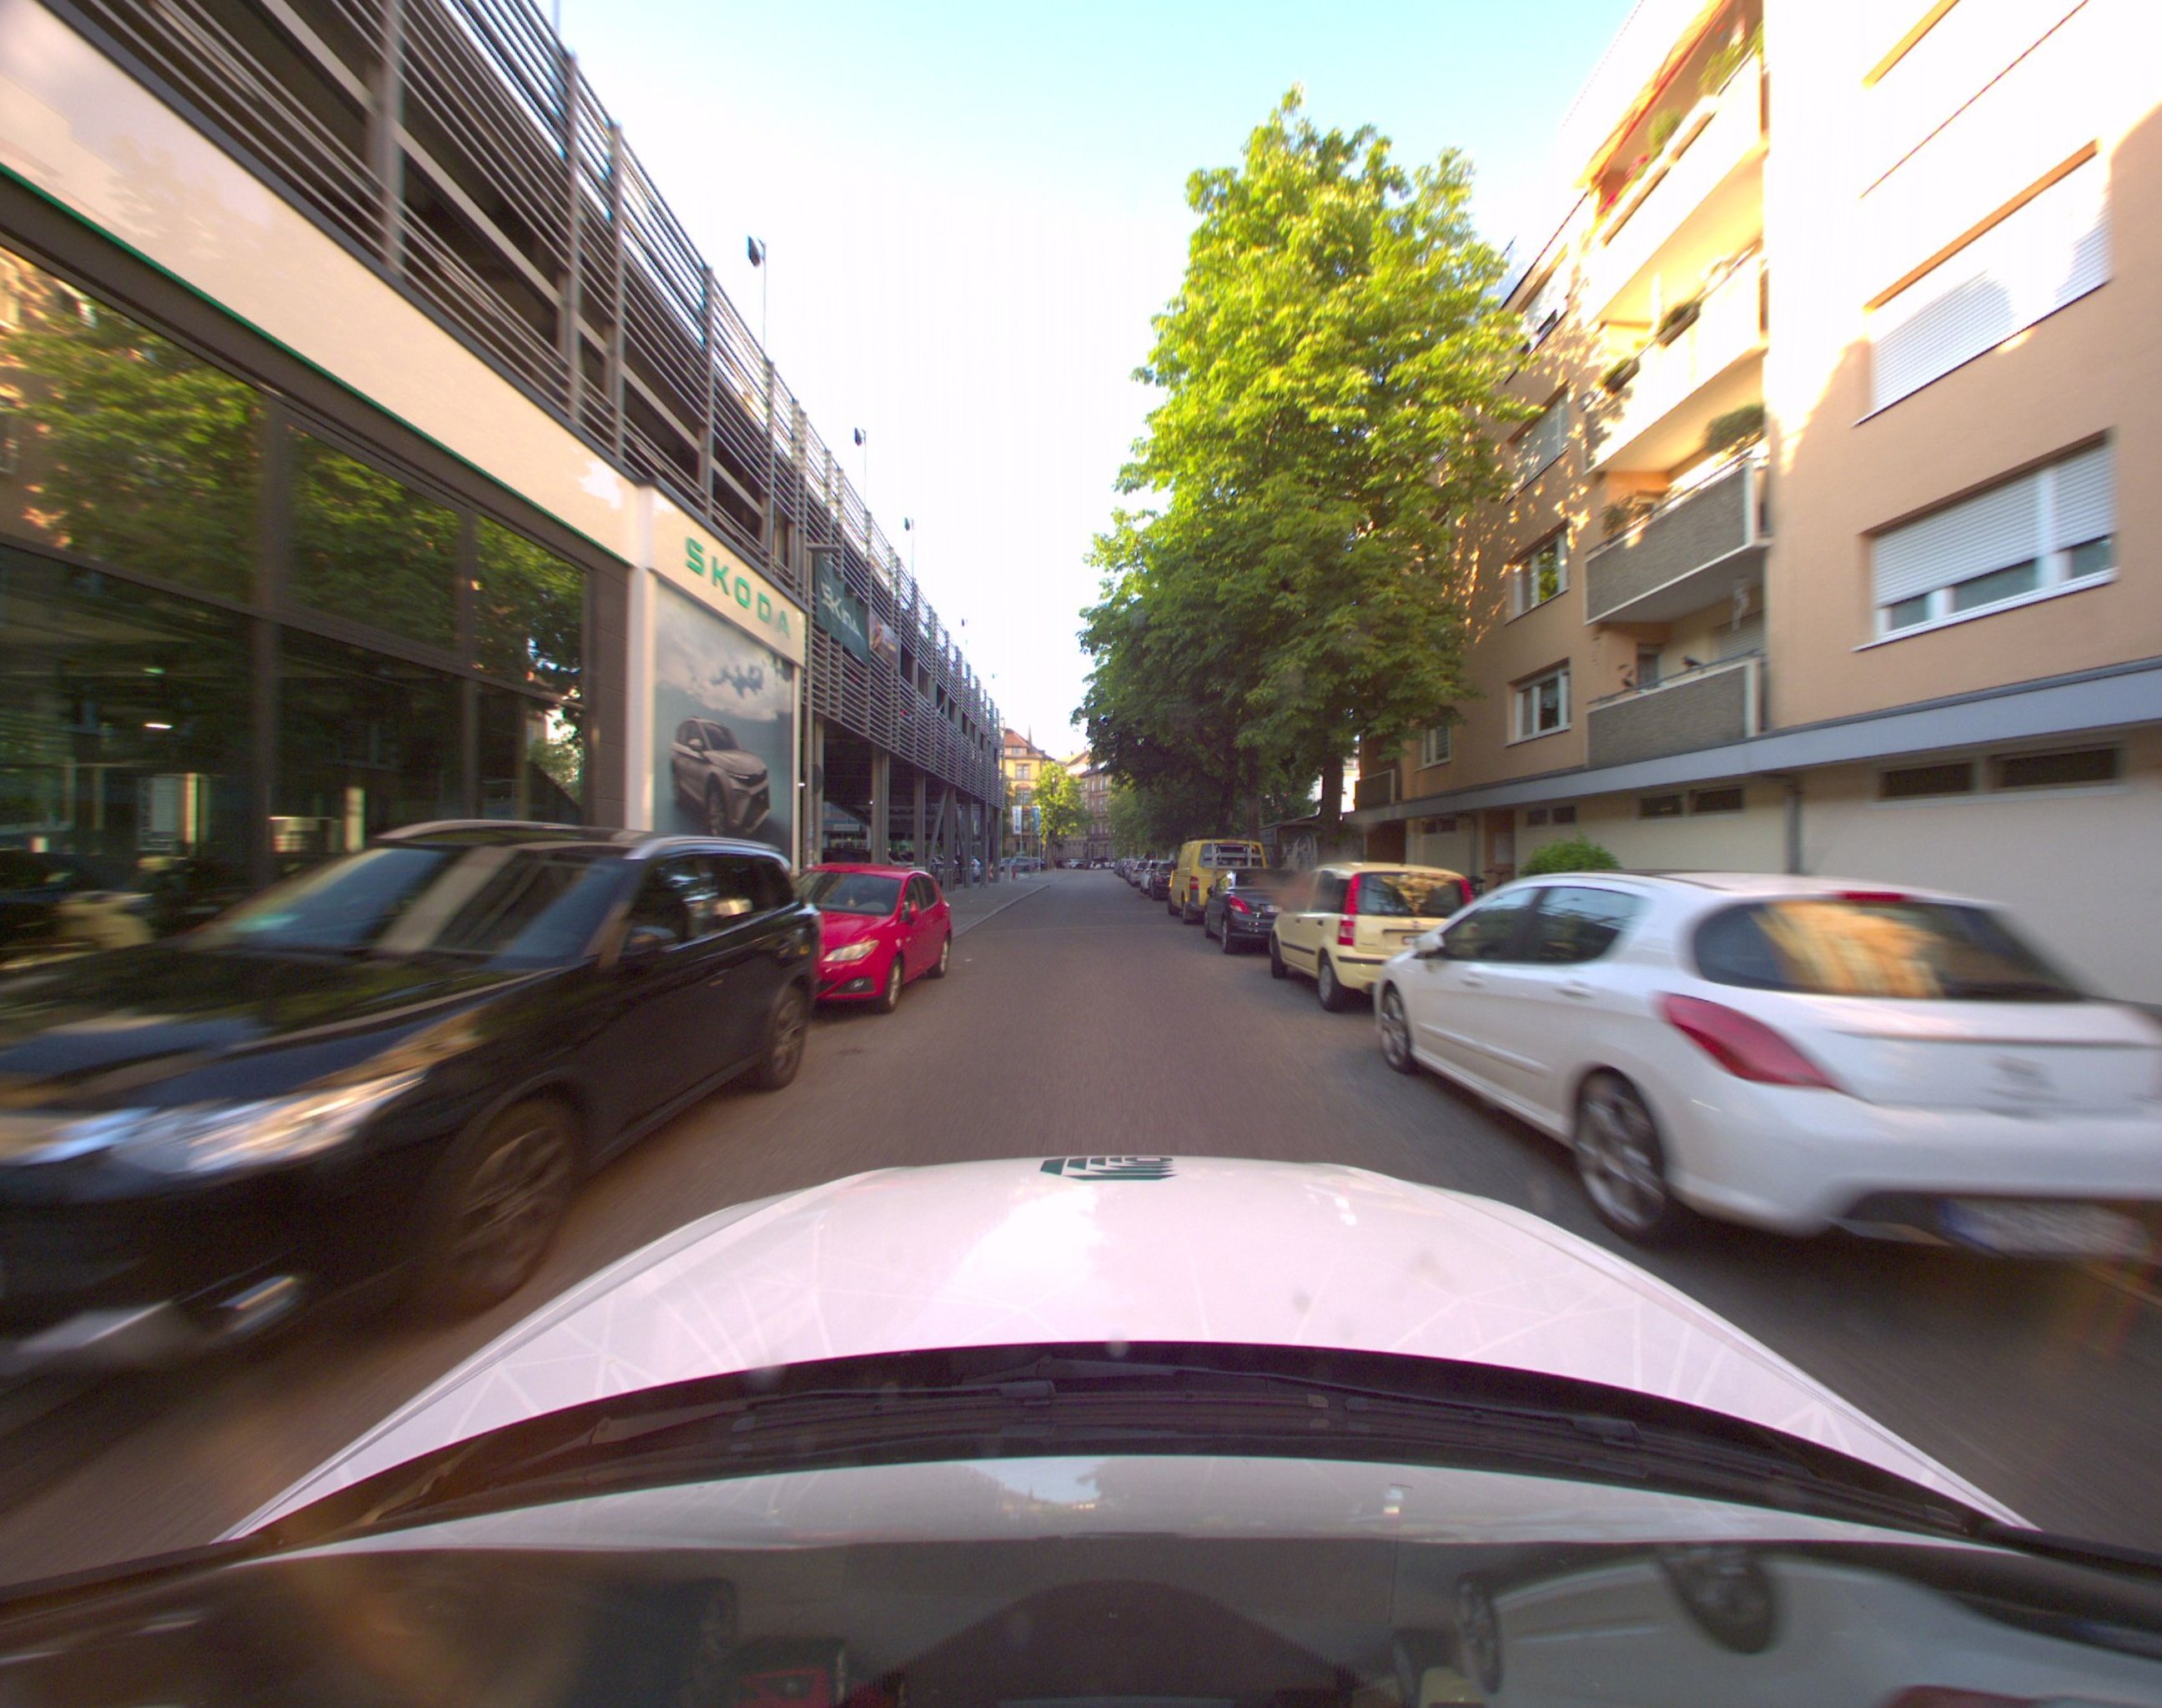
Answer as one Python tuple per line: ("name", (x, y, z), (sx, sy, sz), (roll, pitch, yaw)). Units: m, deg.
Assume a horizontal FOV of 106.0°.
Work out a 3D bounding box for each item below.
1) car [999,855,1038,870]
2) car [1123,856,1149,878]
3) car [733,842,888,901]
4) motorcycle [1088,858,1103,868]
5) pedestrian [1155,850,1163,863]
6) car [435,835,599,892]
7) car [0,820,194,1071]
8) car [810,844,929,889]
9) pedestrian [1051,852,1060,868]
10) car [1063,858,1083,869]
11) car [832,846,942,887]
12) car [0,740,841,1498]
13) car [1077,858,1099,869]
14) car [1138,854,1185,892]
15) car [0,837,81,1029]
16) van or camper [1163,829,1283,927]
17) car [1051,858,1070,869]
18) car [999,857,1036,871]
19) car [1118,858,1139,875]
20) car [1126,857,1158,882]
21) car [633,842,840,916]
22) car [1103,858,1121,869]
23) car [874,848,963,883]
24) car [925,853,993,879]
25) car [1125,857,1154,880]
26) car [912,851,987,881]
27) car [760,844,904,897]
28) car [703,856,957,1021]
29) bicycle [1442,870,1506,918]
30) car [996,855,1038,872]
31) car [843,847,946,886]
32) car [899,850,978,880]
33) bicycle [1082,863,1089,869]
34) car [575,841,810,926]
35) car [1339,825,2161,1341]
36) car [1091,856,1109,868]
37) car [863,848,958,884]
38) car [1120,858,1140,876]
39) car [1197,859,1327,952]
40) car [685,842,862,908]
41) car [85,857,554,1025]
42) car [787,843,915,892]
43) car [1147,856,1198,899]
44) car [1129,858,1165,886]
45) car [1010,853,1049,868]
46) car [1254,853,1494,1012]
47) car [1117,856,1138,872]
("car", (-6.669, 0.879, 87.671), (4.055, 1.618, 1.764), (0, 1, -2))
("car", (4.138, 0.964, 61.649), (1.753, 1.604, 3.874), (0, 0, 1))
("car", (-8.063, 0.500, 24.516), (4.020, 1.684, 1.861), (0, 0, 1))
("motorcycle", (2.008, 1.245, 111.165), (1.931, 1.340, 0.575), (0, 0, -10))
("pedestrian", (10.938, 0.338, 113.954), (0.843, 1.804, 0.771), (0, 0, -20))
("car", (-13.410, 0.195, 19.623), (1.415, 1.255, 3.527), (0, 1, 1))
("car", (-8.005, 0.609, 4.339), (1.692, 1.658, 4.410), (0, 0, 1))
("car", (-8.163, 0.468, 31.657), (4.068, 1.684, 1.861), (0, 0, 1))
("pedestrian", (-2.987, 0.669, 95.079), (0.737, 1.804, 1.114), (0, 0, -20))
("car", (-1.184, 1.399, 119.074), (1.661, 1.431, 4.138), (1, 1, -21))
("car", (-8.024, 0.494, 33.888), (4.087, 1.684, 1.861), (0, 0, 1))
("car", (-2.730, 0.610, 4.092), (1.692, 1.756, 4.403), (0, 0, 1))
("car", (0.968, 1.382, 114.536), (1.662, 1.431, 3.960), (1, 1, -23))
("car", (3.467, 0.801, 35.607), (1.716, 1.519, 4.026), (0, 1, 0))
("car", (-10.174, 0.674, 5.695), (1.692, 1.658, 3.738), (0, -1, 1))
("van or camper", (3.290, 0.485, 19.962), (2.057, 2.096, 5.089), (0, 1, 0))
("car", (-3.122, 1.434, 123.372), (1.662, 1.431, 3.866), (1, 1, -23))
("car", (-7.168, 1.114, 91.675), (4.036, 1.475, 1.918), (2, 0, -3))
("car", (4.276, 1.084, 73.625), (1.689, 1.477, 4.117), (0, 0, 1))
("car", (3.787, 0.947, 50.951), (1.753, 1.454, 4.393), (0, 1, 1))
("car", (-8.145, 0.553, 19.519), (4.150, 1.684, 1.861), (0, 0, 1))
("car", (4.563, 1.387, 119.478), (1.682, 1.525, 2.746), (1, 0, -23))
("car", (-8.123, 0.564, 40.909), (4.049, 1.684, 1.861), (0, 0, 1))
("car", (-7.533, 0.787, 50.670), (3.976, 1.586, 1.859), (0, -2, -2))
("car", (4.049, 0.982, 56.888), (1.753, 1.441, 3.874), (0, 1, 1))
("car", (-7.742, 0.696, 48.177), (4.064, 1.684, 1.861), (0, 0, 1))
("car", (-8.147, 0.505, 26.926), (4.134, 1.684, 1.861), (0, 0, 1))
("car", (-2.585, 0.797, 9.355), (1.692, 1.506, 3.790), (0, -1, 1))
("bicycle", (8.550, 0.848, 17.789), (0.521, 0.921, 1.835), (0, 1, 0))
("car", (-6.617, 0.989, 84.198), (4.118, 1.618, 1.912), (2, 0, -2))
("car", (-8.243, 0.521, 36.270), (4.087, 1.684, 1.861), (0, 0, 1))
("car", (-7.932, 0.598, 45.591), (4.072, 1.684, 1.861), (0, 0, 1))
("bicycle", (0.622, 1.621, 109.058), (0.421, 0.822, 1.470), (0, 1, 23))
("car", (-8.057, 0.578, 17.144), (4.028, 1.684, 1.861), (0, 0, 1))
("car", (2.984, 0.687, 4.577), (1.785, 1.562, 4.194), (0, 0, 1))
("car", (2.859, 1.193, 122.993), (1.682, 1.782, 2.991), (1, 0, -23))
("car", (-8.061, 0.554, 38.763), (4.087, 1.684, 1.861), (0, 0, 1))
("car", (4.146, 1.111, 69.253), (1.591, 1.477, 3.774), (0, 0, 1))
("car", (3.088, 0.806, 14.634), (1.600, 1.381, 4.003), (0, 1, 2))
("car", (-8.157, 0.528, 21.876), (4.020, 1.684, 1.861), (0, 0, 1))
("car", (-8.033, 0.782, 9.173), (1.692, 1.473, 3.782), (0, 0, 1))
("car", (-8.165, 0.451, 29.125), (4.010, 1.684, 1.861), (0, 0, 1))
("car", (3.348, 0.825, 30.279), (1.557, 1.450, 3.453), (0, 1, 0))
("car", (3.678, 0.991, 46.014), (1.753, 1.442, 4.006), (0, 1, 1))
("car", (-6.531, 0.846, 103.151), (4.822, 1.732, 1.917), (1, 1, -6))
("car", (3.186, 0.754, 9.567), (1.604, 1.510, 3.478), (0, 0, 1))
("car", (4.422, 0.926, 78.439), (1.691, 1.477, 3.556), (0, 0, -3))
